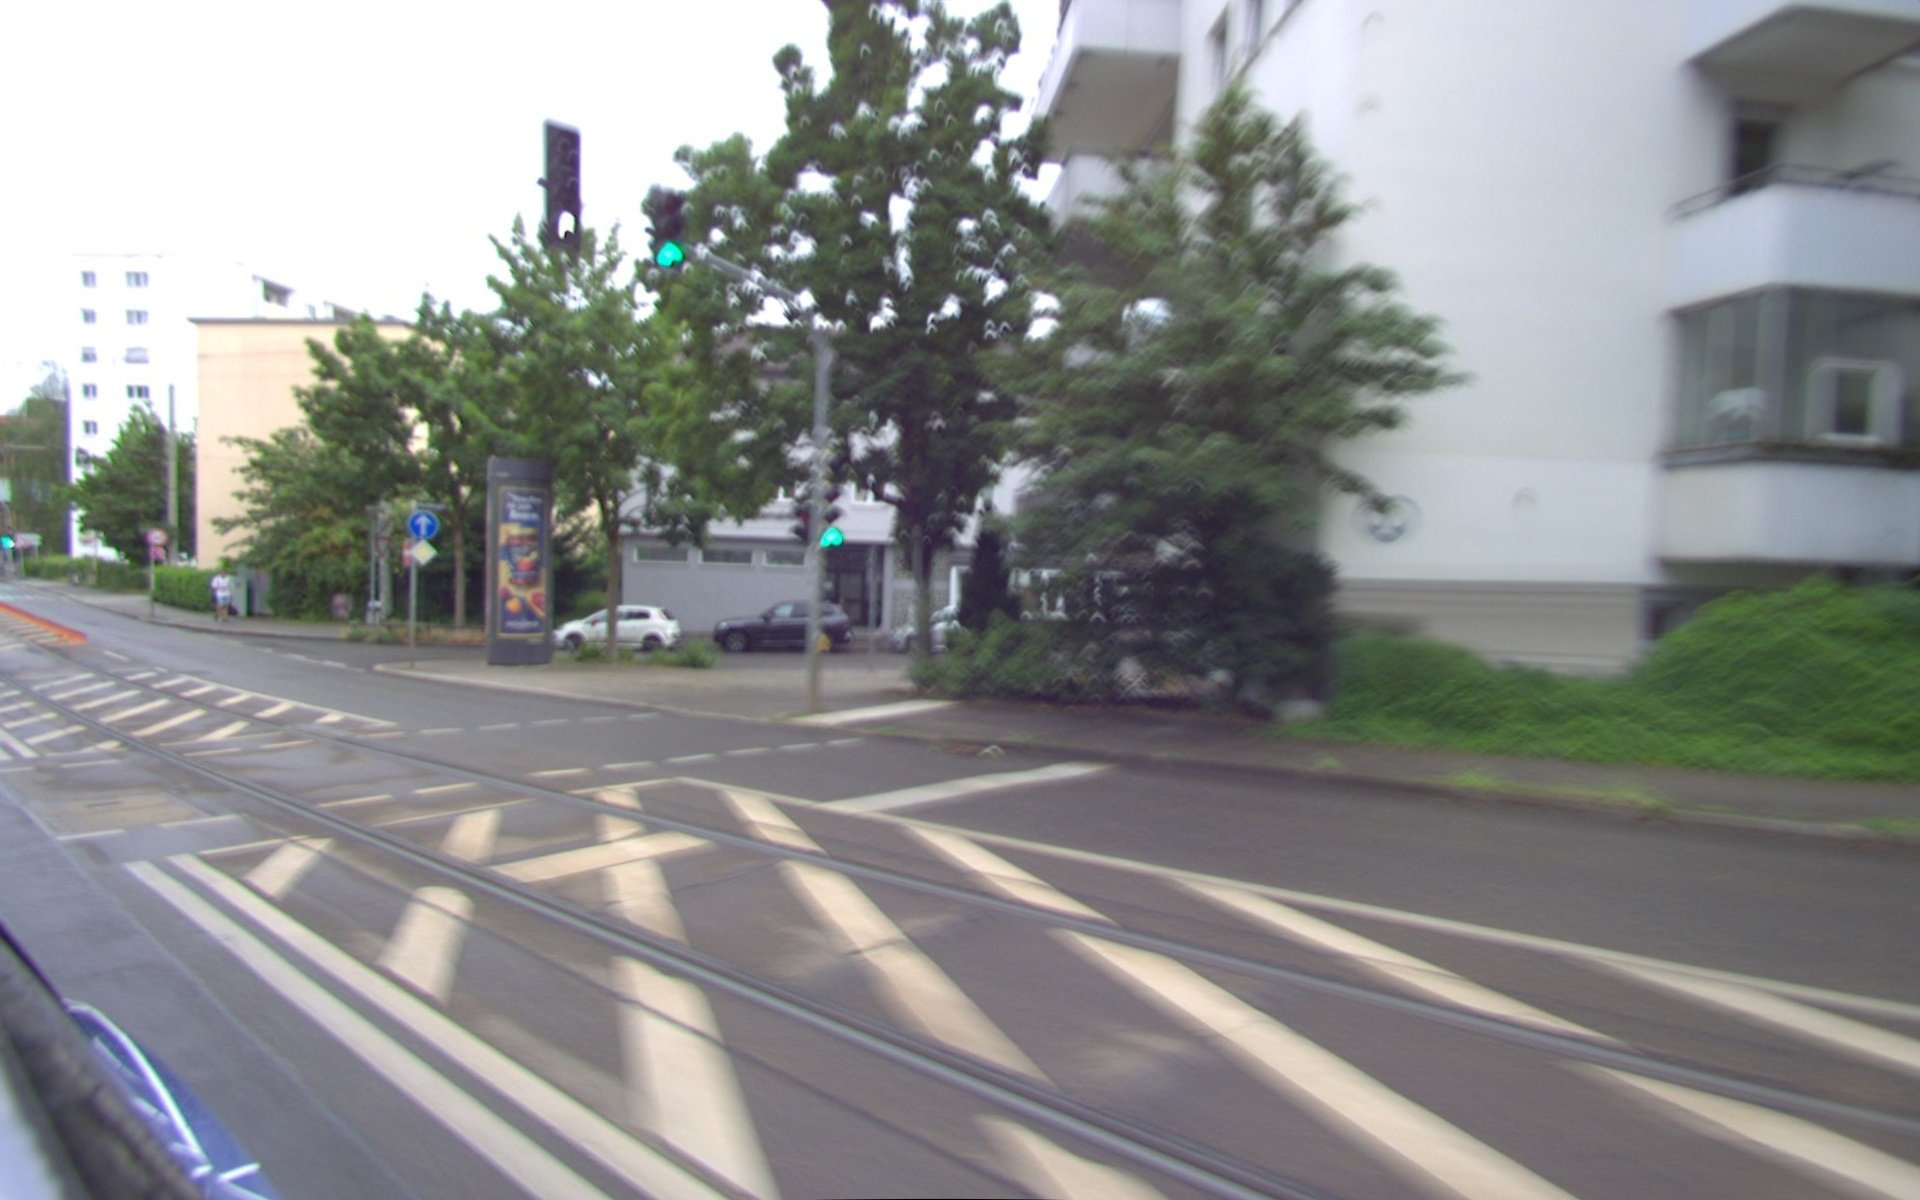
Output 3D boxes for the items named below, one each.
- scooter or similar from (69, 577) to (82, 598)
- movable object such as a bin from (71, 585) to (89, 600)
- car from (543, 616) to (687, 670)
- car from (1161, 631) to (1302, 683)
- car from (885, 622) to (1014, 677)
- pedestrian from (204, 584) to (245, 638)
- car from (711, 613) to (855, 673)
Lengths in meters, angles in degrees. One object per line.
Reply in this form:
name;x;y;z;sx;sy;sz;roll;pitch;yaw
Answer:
scooter or similar;-53.285;-0.739;60.973;0.565;1.193;1.602;0;3;-41
movable object such as a bin;-54.450;-0.458;62.632;0.759;0.888;0.680;3;3;36
car;-11.287;1.391;33.291;4.099;1.492;2.002;2;2;-3
car;9.115;1.898;34.198;4.137;1.505;1.845;1;2;-5
car;-0.398;1.622;33.804;4.109;1.591;1.845;1;2;-5
pedestrian;-26.661;0.385;36.679;1.015;1.859;0.911;3;3;36
car;-5.793;1.410;33.577;4.569;1.718;1.845;1;2;-5
